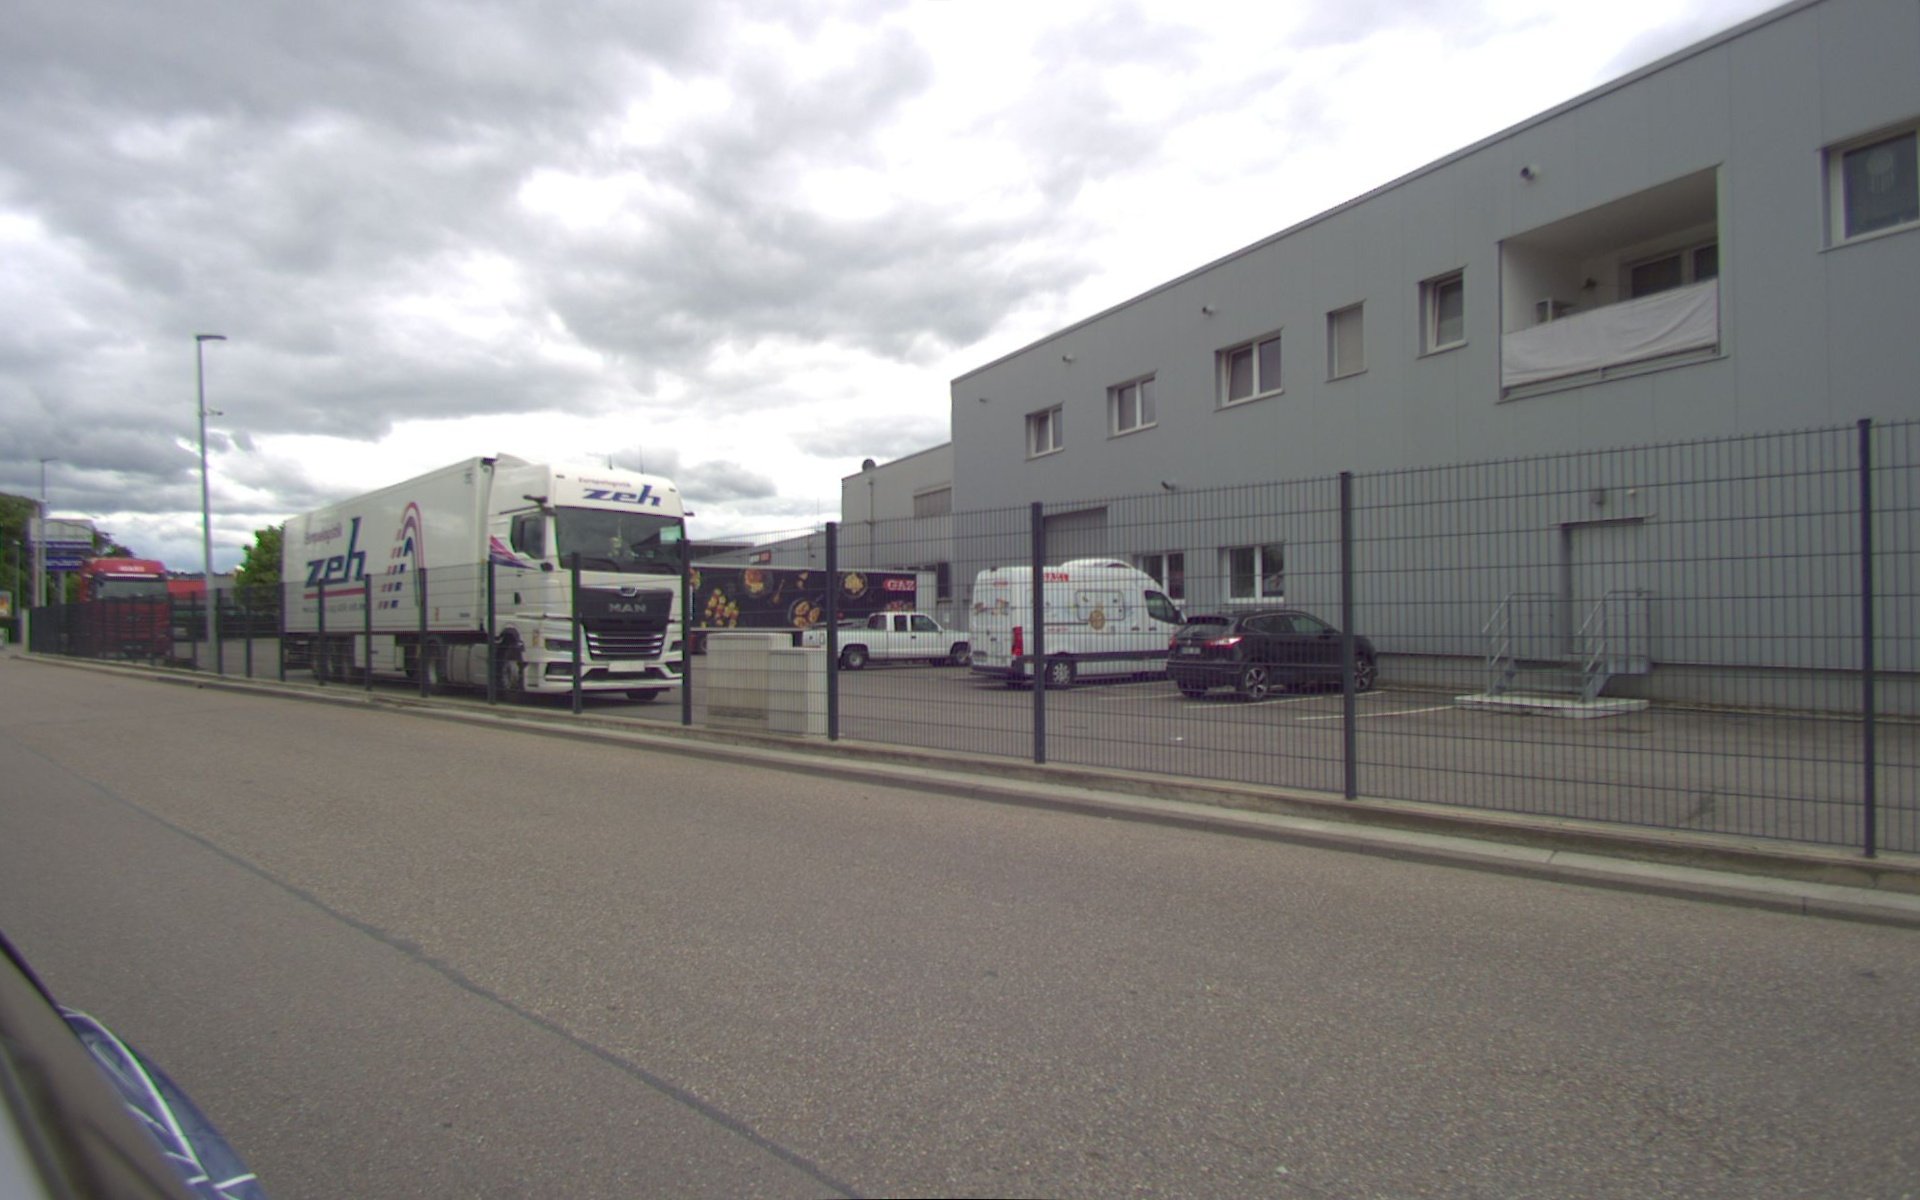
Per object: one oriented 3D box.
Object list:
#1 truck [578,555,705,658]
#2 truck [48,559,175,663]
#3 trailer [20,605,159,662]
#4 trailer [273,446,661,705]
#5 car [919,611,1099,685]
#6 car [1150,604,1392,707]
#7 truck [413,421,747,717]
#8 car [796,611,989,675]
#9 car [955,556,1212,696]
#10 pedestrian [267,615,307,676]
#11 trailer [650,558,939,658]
[{"bbox_3d":[-13.915,0.368,44.160,4.797,4.237,3.058,2,-3,-27],"label":"truck"},{"bbox_3d":[-33.974,0.513,40.477,5.668,3.879,2.982,-2,-3,42],"label":"truck"},{"bbox_3d":[-38.365,1.458,44.390,12.043,2.209,3.006,-2,-3,42],"label":"trailer"},{"bbox_3d":[-11.624,-0.191,22.435,3.321,4.192,13.855,3,-3,-45],"label":"trailer"},{"bbox_3d":[1.233,1.148,25.380,4.011,1.589,1.950,-2,-1,-28],"label":"car"},{"bbox_3d":[5.759,0.961,18.727,4.011,1.589,1.950,-2,-1,-28],"label":"car"},{"bbox_3d":[-6.679,-0.330,17.480,5.630,4.192,3.321,-2,-3,45],"label":"truck"},{"bbox_3d":[-2.021,1.283,30.940,5.595,1.823,1.950,1,-2,-27],"label":"car"},{"bbox_3d":[2.805,0.491,22.639,5.341,2.751,2.248,-2,-1,-30],"label":"car"},{"bbox_3d":[-20.931,1.398,31.462,0.879,1.834,0.795,-2,-1,38],"label":"pedestrian"},{"bbox_3d":[-7.521,0.530,47.364,12.962,4.245,3.058,2,-3,-27],"label":"trailer"}]
